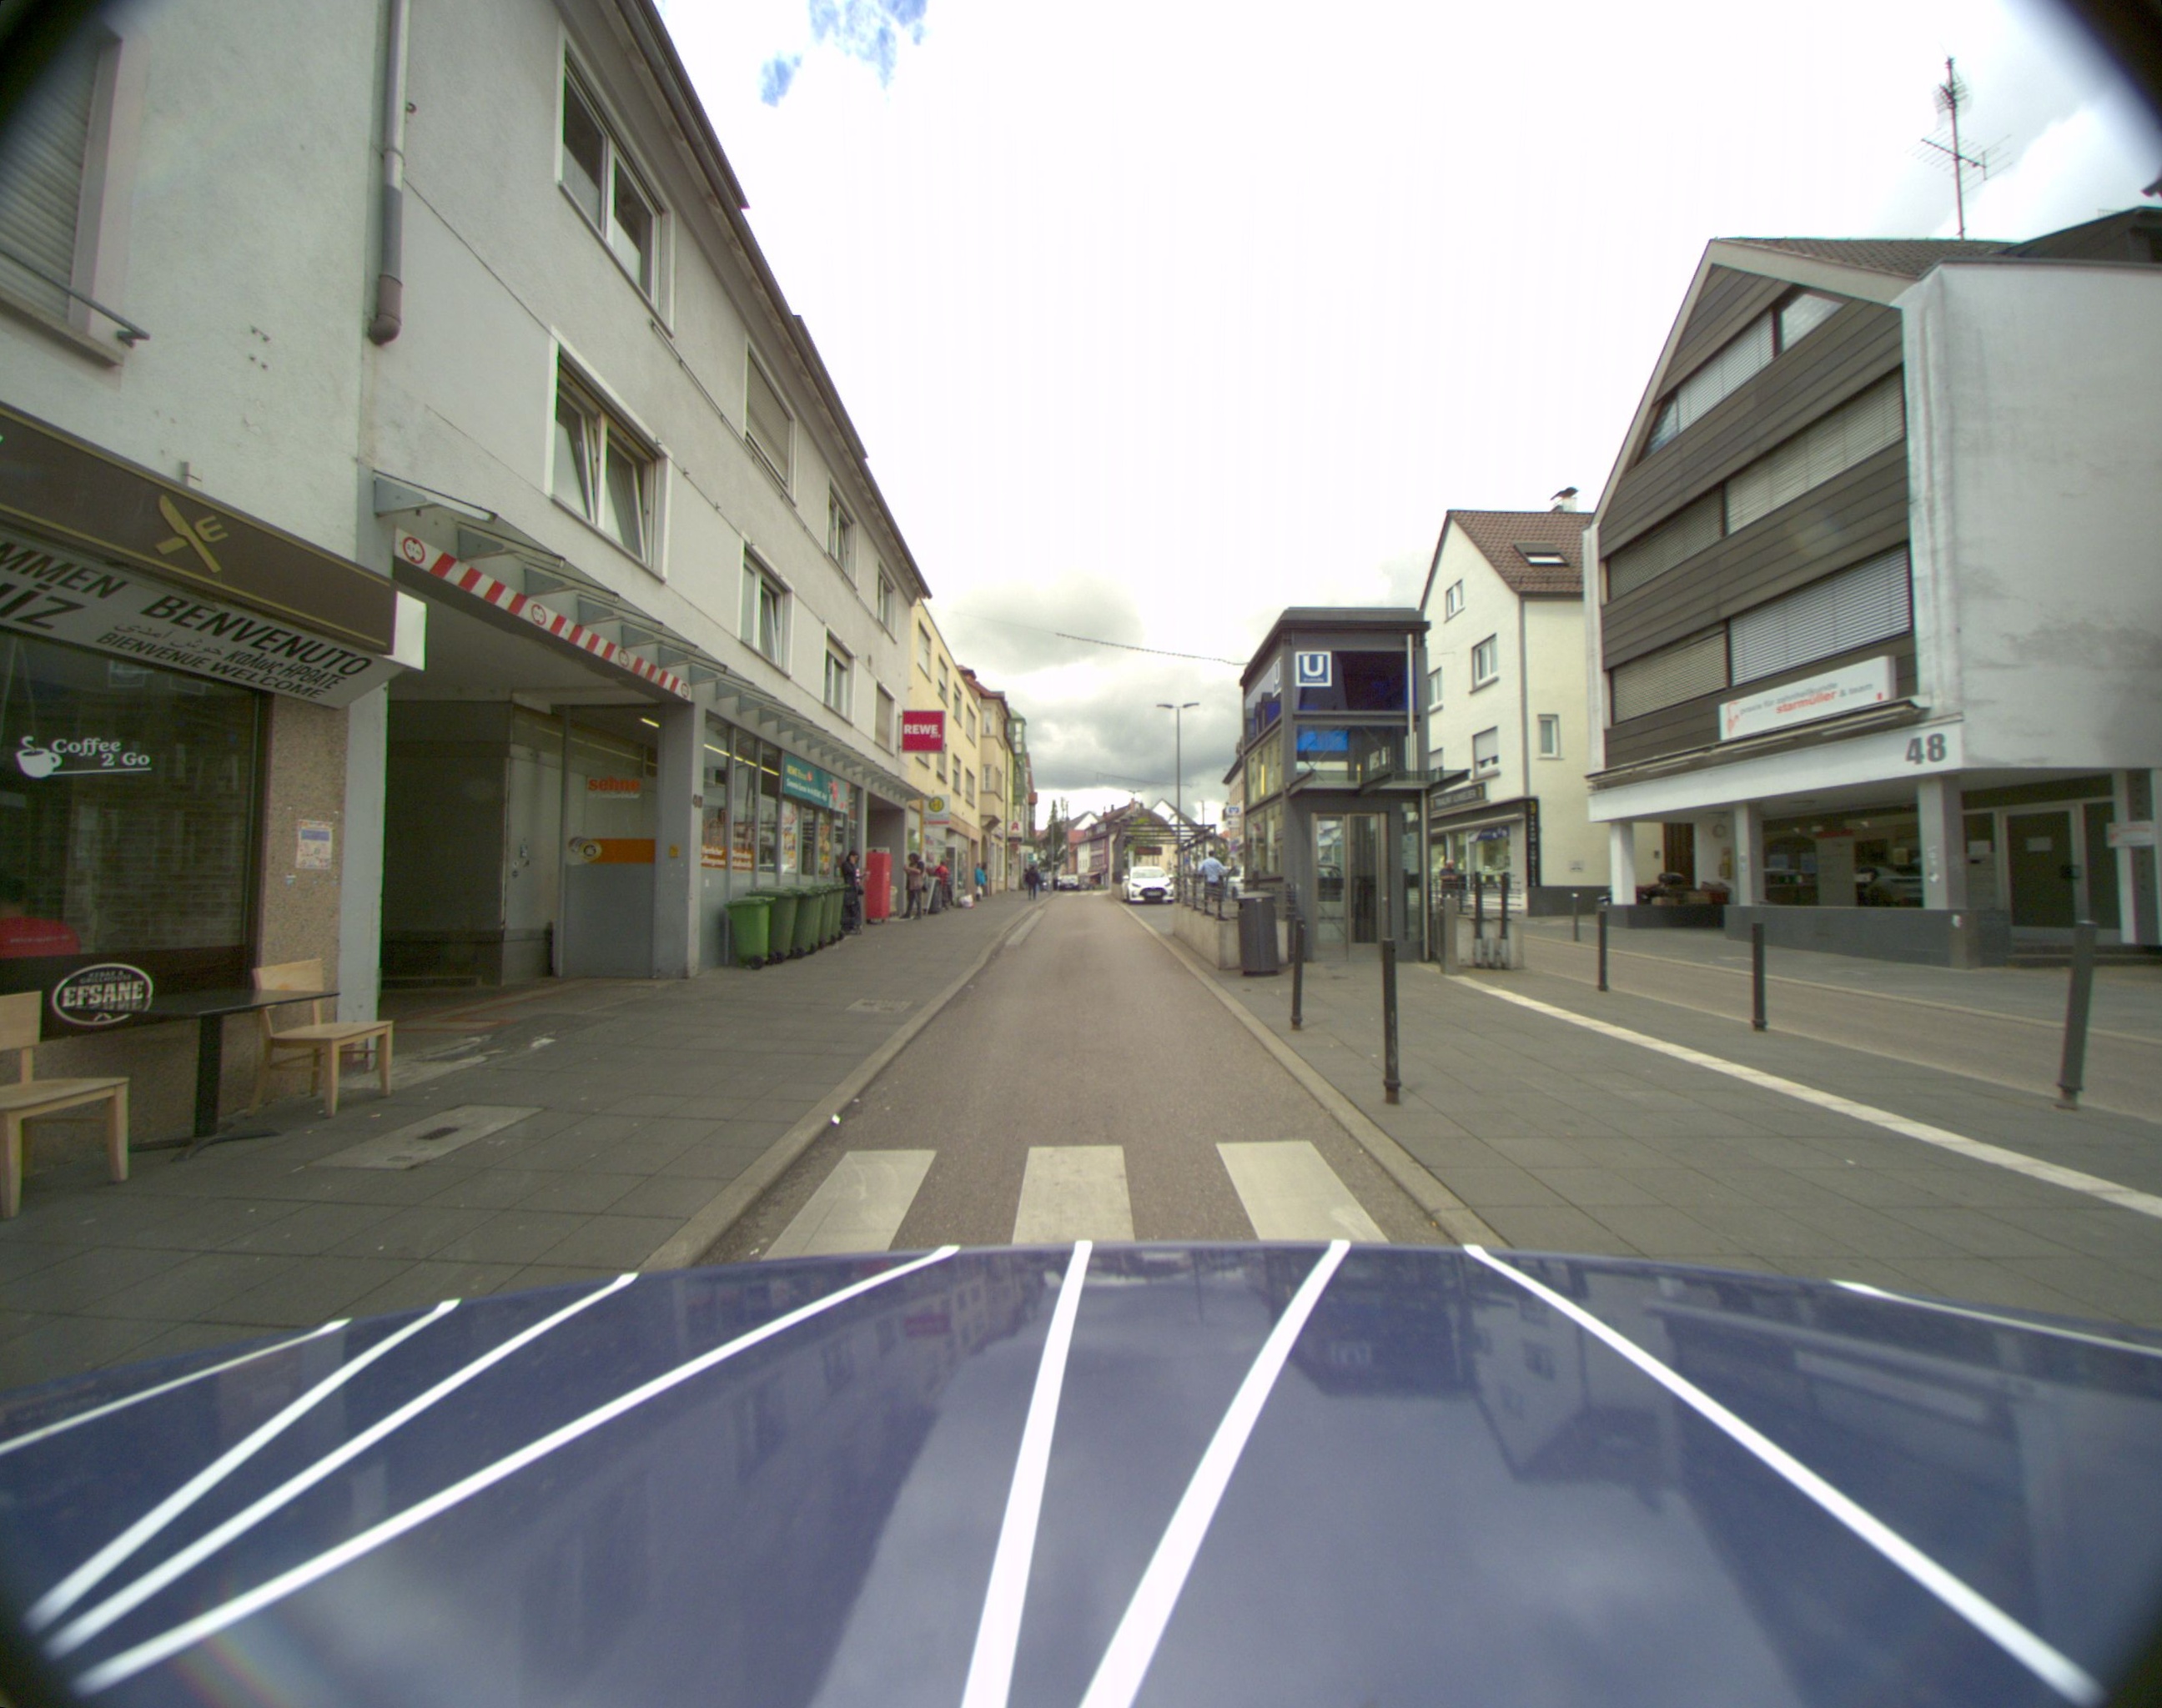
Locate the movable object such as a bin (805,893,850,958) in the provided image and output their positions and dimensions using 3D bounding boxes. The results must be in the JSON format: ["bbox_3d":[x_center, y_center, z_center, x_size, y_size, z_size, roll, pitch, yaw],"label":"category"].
[{"bbox_3d":[-4.305,1.198,12.905,0.569,1.053,0.574,0,0,0],"label":"movable object such as a bin"}]

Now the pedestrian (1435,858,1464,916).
[{"bbox_3d":[11.122,0.988,22.935,0.592,1.706,0.513,-2,1,0],"label":"pedestrian"}]

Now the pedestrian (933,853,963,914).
[{"bbox_3d":[-4.068,0.883,23.184,0.629,1.811,0.605,-3,1,-34],"label":"pedestrian"}]

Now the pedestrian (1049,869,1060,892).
[{"bbox_3d":[-1.989,1.985,57.149,0.657,1.620,0.743,-2,1,-7],"label":"pedestrian"}]

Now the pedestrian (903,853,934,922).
[{"bbox_3d":[-4.109,0.837,19.235,0.627,1.716,0.607,2,1,-4],"label":"pedestrian"}]

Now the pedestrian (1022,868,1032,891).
[{"bbox_3d":[-3.915,1.836,55.389,0.657,1.620,0.743,-2,1,-2],"label":"pedestrian"}]

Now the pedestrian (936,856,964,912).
[{"bbox_3d":[-4.136,0.939,23.980,0.608,1.716,0.626,-3,1,-29],"label":"pedestrian"}]

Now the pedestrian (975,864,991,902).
[{"bbox_3d":[-4.241,1.245,32.951,0.627,1.620,0.607,-2,1,-5],"label":"pedestrian"}]

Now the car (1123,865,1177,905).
[{"bbox_3d":[2.688,1.208,30.177,1.754,1.452,3.602,-2,-1,0],"label":"car"}]

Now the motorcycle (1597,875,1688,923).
[{"bbox_3d":[14.353,1.147,19.456,1.854,1.134,0.634,-2,1,-1],"label":"motorcycle"}]

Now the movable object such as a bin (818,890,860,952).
[{"bbox_3d":[-4.289,1.181,13.488,0.560,1.050,0.559,0,0,0],"label":"movable object such as a bin"}]

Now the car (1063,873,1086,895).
[{"bbox_3d":[-0.516,2.446,62.788,1.741,1.608,3.843,-2,0,0],"label":"car"}]

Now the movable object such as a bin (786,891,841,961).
[{"bbox_3d":[-4.298,1.143,12.260,0.652,1.074,0.659,0,0,0],"label":"movable object such as a bin"}]

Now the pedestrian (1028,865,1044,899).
[{"bbox_3d":[-2.175,1.342,36.851,0.657,1.620,0.743,-2,1,-2],"label":"pedestrian"}]

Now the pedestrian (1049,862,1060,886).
[{"bbox_3d":[-1.880,1.374,53.211,0.657,1.620,0.743,-2,1,-7],"label":"pedestrian"}]

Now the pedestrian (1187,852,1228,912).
[{"bbox_3d":[4.034,0.873,24.241,1.097,1.831,0.931,-2,1,1],"label":"pedestrian"}]

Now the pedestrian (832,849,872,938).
[{"bbox_3d":[-4.584,0.769,15.209,0.628,1.716,0.606,-3,1,-23],"label":"pedestrian"}]

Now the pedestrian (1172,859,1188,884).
[{"bbox_3d":[6.689,1.174,51.229,0.745,1.620,0.655,-3,1,-39],"label":"pedestrian"}]

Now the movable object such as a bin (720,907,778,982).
[{"bbox_3d":[-4.481,1.215,10.275,0.568,0.951,0.498,0,0,0],"label":"movable object such as a bin"}]

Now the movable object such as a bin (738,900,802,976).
[{"bbox_3d":[-4.438,1.187,10.870,0.670,1.024,0.560,0,0,0],"label":"movable object such as a bin"}]

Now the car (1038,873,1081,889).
[{"bbox_3d":[-2.314,2.918,83.753,4.635,1.570,1.773,-1,0,-41],"label":"car"}]

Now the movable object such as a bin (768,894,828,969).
[{"bbox_3d":[-4.280,1.158,11.529,0.652,1.074,0.673,0,0,0],"label":"movable object such as a bin"}]

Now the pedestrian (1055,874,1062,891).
[{"bbox_3d":[-2.179,2.770,74.335,0.657,1.620,0.743,-2,1,-3],"label":"pedestrian"}]

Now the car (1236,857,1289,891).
[{"bbox_3d":[9.152,0.979,38.611,1.684,1.562,4.122,-2,0,0],"label":"car"}]

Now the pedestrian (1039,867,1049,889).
[{"bbox_3d":[-2.819,1.778,57.481,0.657,1.620,0.743,-2,1,-7],"label":"pedestrian"}]
